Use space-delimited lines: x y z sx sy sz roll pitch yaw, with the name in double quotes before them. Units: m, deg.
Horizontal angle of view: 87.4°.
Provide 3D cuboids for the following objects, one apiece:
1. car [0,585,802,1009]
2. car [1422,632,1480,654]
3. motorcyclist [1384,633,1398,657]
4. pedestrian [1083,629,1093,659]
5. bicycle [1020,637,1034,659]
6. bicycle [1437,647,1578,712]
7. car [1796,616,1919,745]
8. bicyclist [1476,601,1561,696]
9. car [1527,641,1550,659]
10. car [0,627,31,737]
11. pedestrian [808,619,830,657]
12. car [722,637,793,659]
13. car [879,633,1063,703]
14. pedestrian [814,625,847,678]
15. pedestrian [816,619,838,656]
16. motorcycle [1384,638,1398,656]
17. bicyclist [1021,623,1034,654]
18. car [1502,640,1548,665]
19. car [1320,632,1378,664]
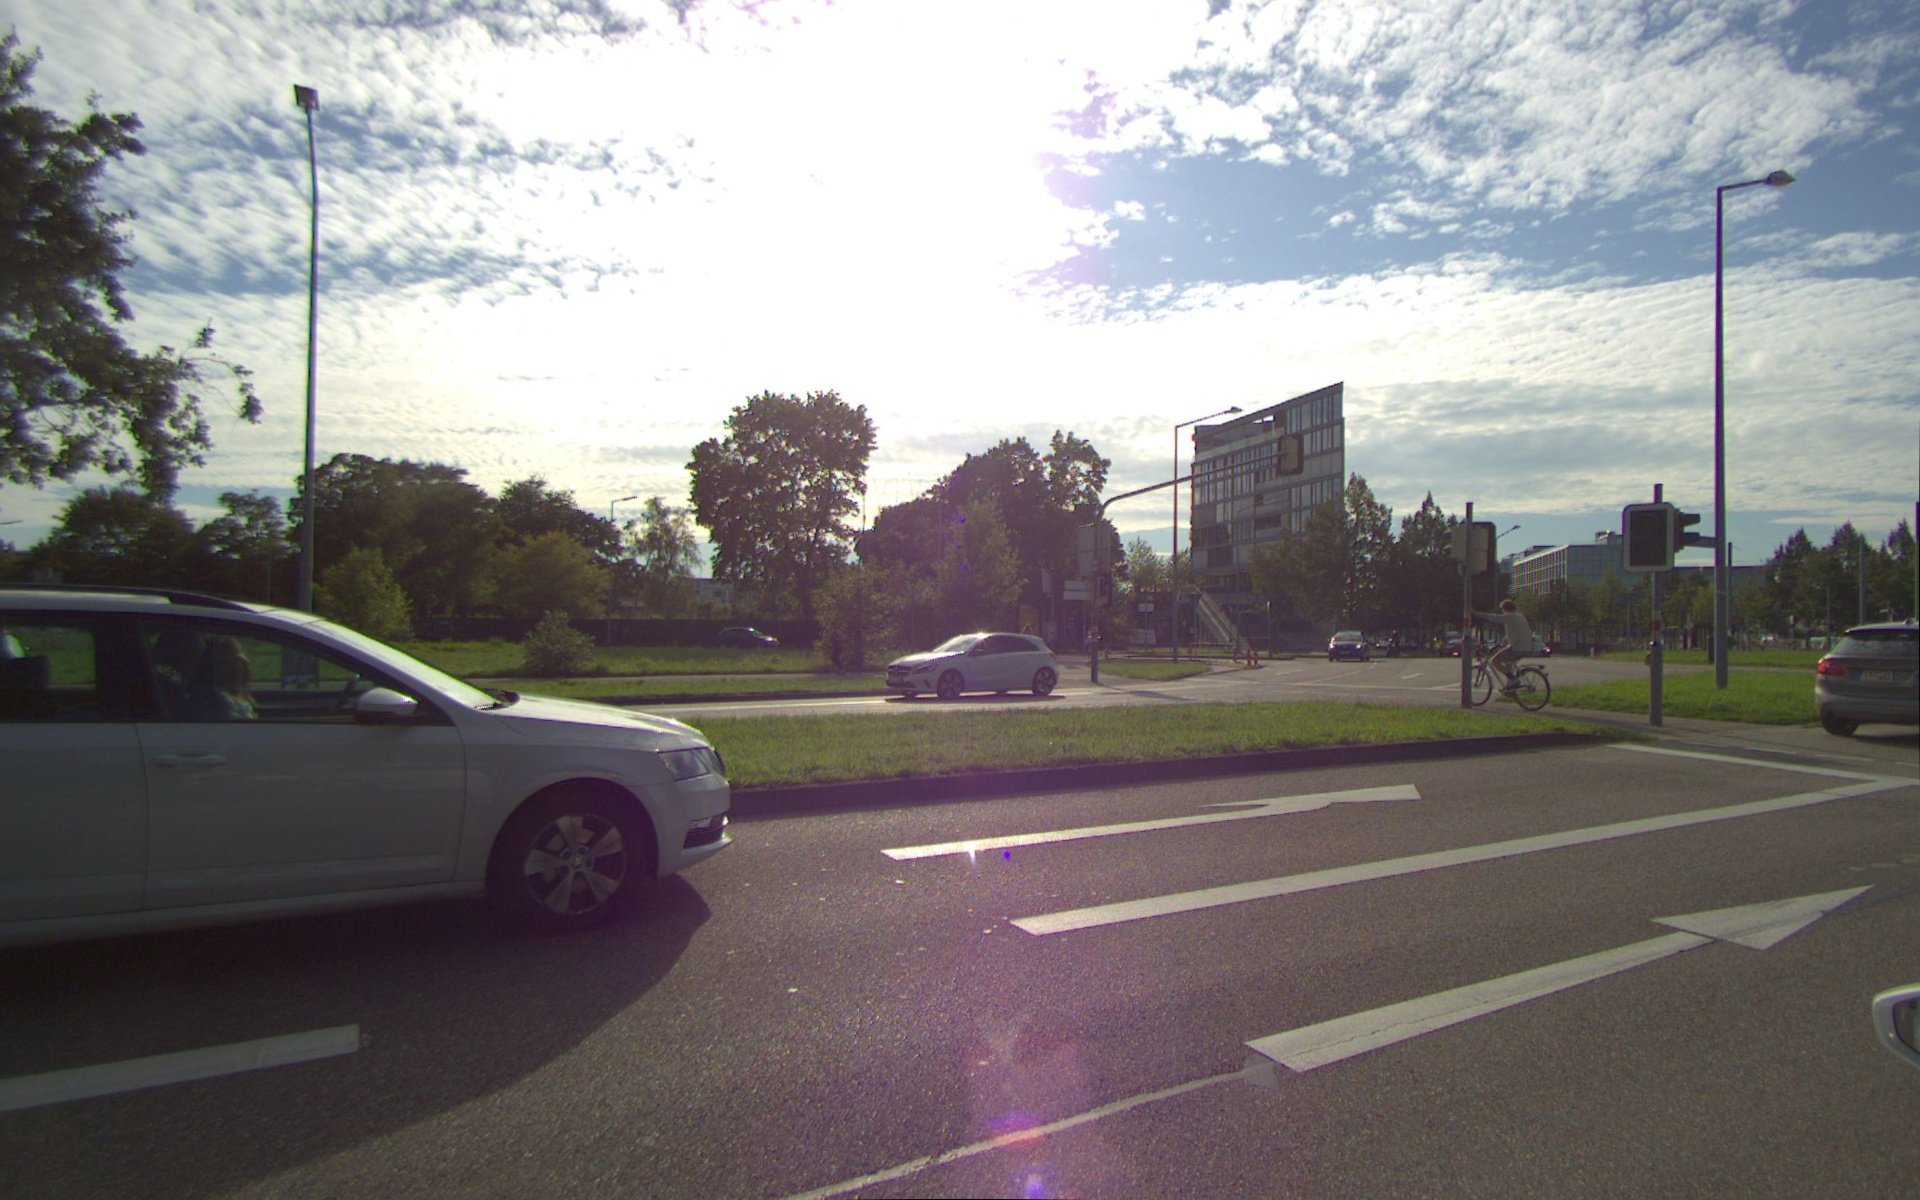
"car" -3.217 0.696 4.580 4.584 1.464 1.842 2 -1 -30
"car" 34.123 2.966 69.819 3.954 1.439 1.755 1 -2 -31
"motorcyclist" 25.746 2.682 59.985 0.769 1.384 0.943 0 -2 23
"pedestrian" 7.025 2.389 54.982 0.495 1.646 0.548 0 -1 10
"bicycle" 3.189 2.267 47.951 0.599 1.001 1.838 -1 -1 3
"bicycle" 9.422 1.341 17.375 0.988 1.020 1.949 1 -2 -25
"car" 13.576 1.055 13.689 4.010 1.593 1.763 2 -1 -24
"bicyclist" 9.539 0.824 17.179 0.984 1.576 0.860 1 -2 -25
"car" 52.016 4.511 90.326 1.656 1.520 3.987 -3 -4 30
"car" -14.561 1.062 12.954 3.556 1.452 1.669 2 -2 -36
"pedestrian" -7.353 1.965 52.319 0.878 1.942 0.867 2 0 10
"car" -12.392 2.946 61.673 3.913 1.293 1.687 0 -2 14
"car" 0.296 1.480 22.673 3.955 1.452 1.669 2 -2 -35
"pedestrian" -3.866 1.517 29.935 0.748 1.528 0.623 2 1 -31
"pedestrian" -7.053 1.972 53.130 0.878 1.942 0.867 2 0 10
"motorcycle" 25.854 2.819 60.215 0.769 0.999 2.022 0 0 24
"bicyclist" 3.206 1.836 47.936 0.599 1.465 0.698 0 -1 2
"car" 42.694 3.942 75.911 4.529 1.848 1.665 2 -4 -43
"car" 19.439 2.404 50.095 1.755 1.520 3.981 -3 -4 35
